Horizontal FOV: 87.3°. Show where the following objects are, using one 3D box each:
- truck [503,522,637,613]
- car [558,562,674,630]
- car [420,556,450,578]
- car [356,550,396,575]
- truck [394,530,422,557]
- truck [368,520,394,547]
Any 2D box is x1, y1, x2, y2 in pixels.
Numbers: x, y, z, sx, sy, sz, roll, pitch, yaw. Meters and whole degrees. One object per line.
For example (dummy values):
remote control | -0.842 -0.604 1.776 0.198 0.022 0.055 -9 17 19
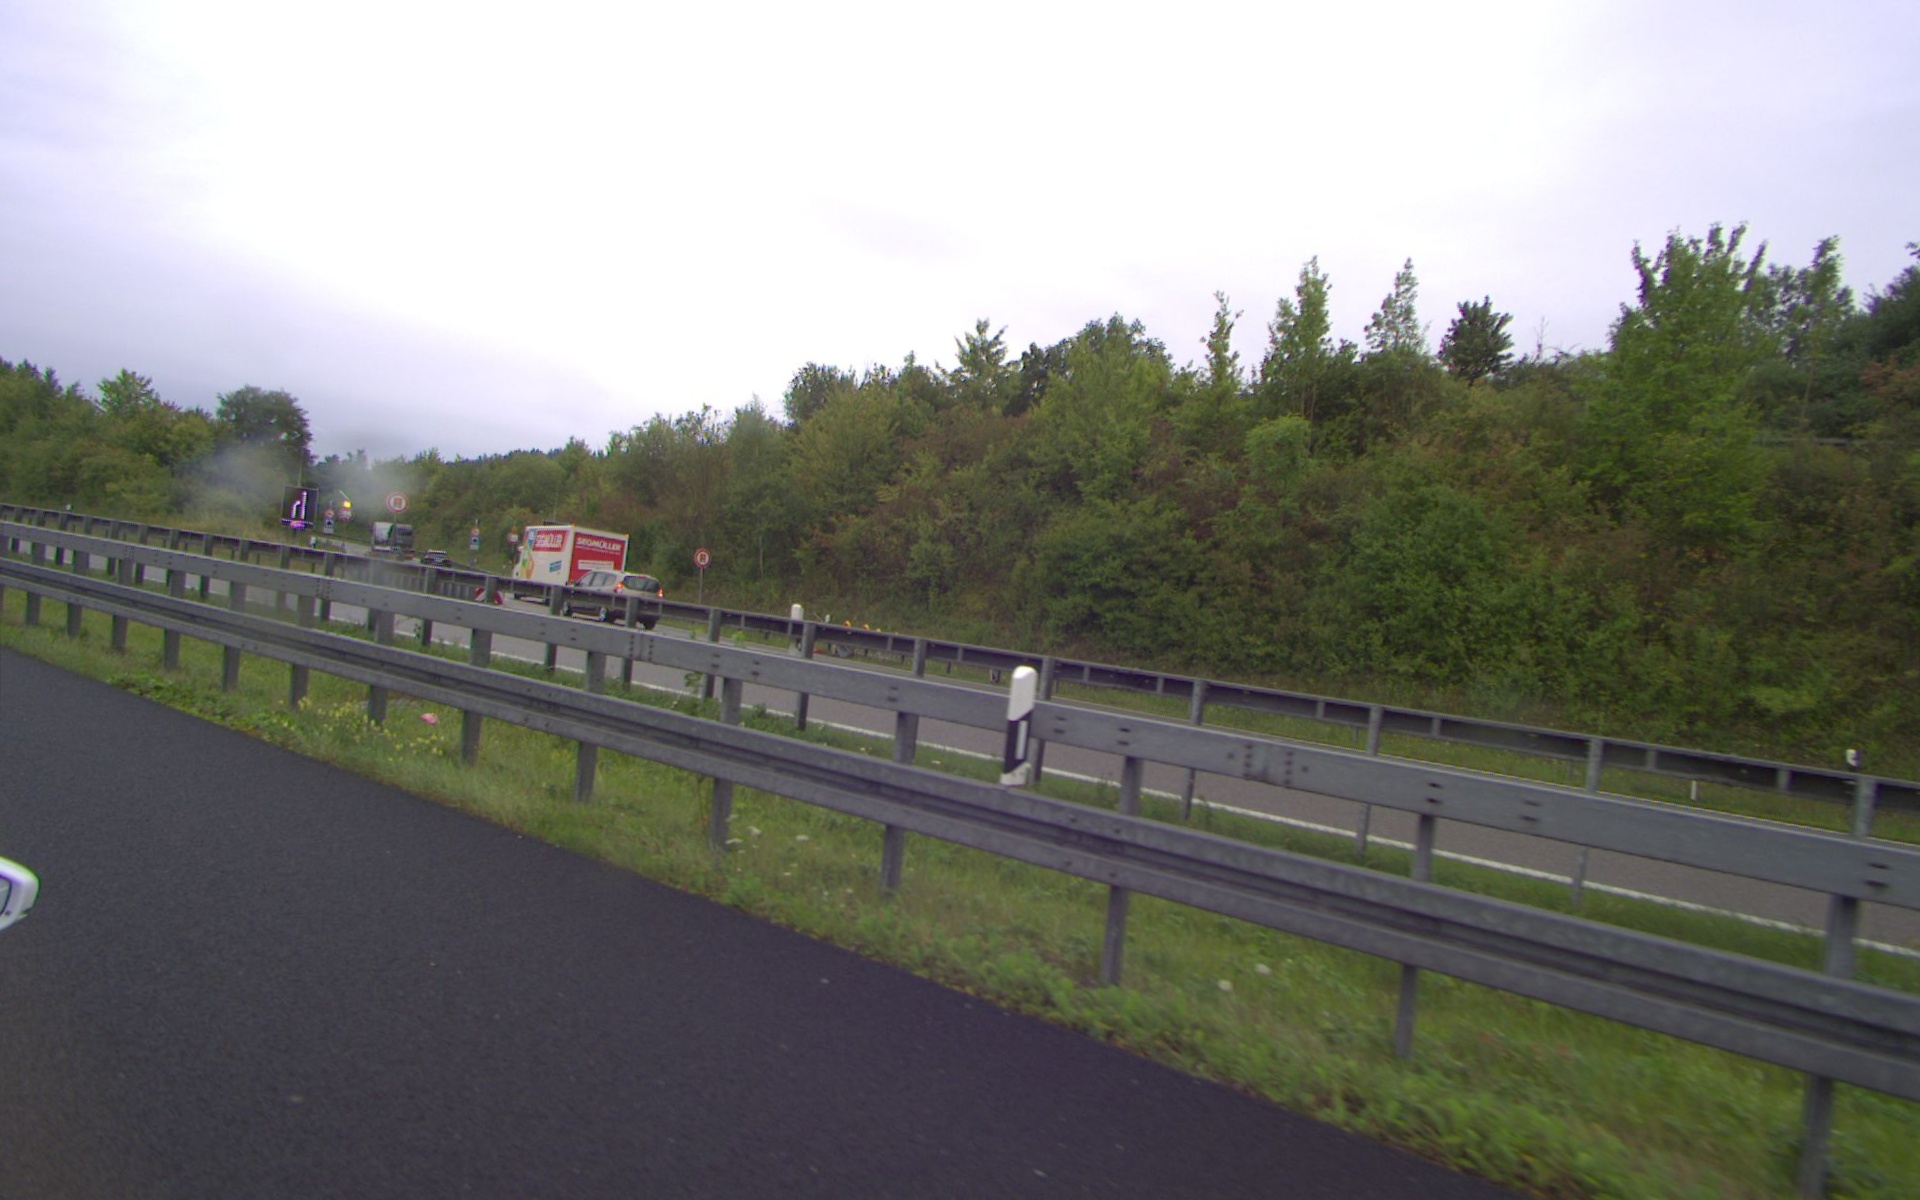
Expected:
truck | -17.819 -1.563 45.503 2.885 3.435 8.881 7 -1 -38
car | -11.000 -0.168 31.998 1.853 1.678 4.422 8 -1 -41
car | -42.387 -2.684 81.204 1.846 1.464 4.125 7 -1 -31
car | -43.419 -2.787 74.757 1.852 1.464 4.112 8 -1 -40
truck | -63.132 -6.459 115.061 2.420 2.737 5.529 7 -1 -28
truck | -70.357 -8.040 122.324 2.227 2.913 8.113 7 -1 -29
